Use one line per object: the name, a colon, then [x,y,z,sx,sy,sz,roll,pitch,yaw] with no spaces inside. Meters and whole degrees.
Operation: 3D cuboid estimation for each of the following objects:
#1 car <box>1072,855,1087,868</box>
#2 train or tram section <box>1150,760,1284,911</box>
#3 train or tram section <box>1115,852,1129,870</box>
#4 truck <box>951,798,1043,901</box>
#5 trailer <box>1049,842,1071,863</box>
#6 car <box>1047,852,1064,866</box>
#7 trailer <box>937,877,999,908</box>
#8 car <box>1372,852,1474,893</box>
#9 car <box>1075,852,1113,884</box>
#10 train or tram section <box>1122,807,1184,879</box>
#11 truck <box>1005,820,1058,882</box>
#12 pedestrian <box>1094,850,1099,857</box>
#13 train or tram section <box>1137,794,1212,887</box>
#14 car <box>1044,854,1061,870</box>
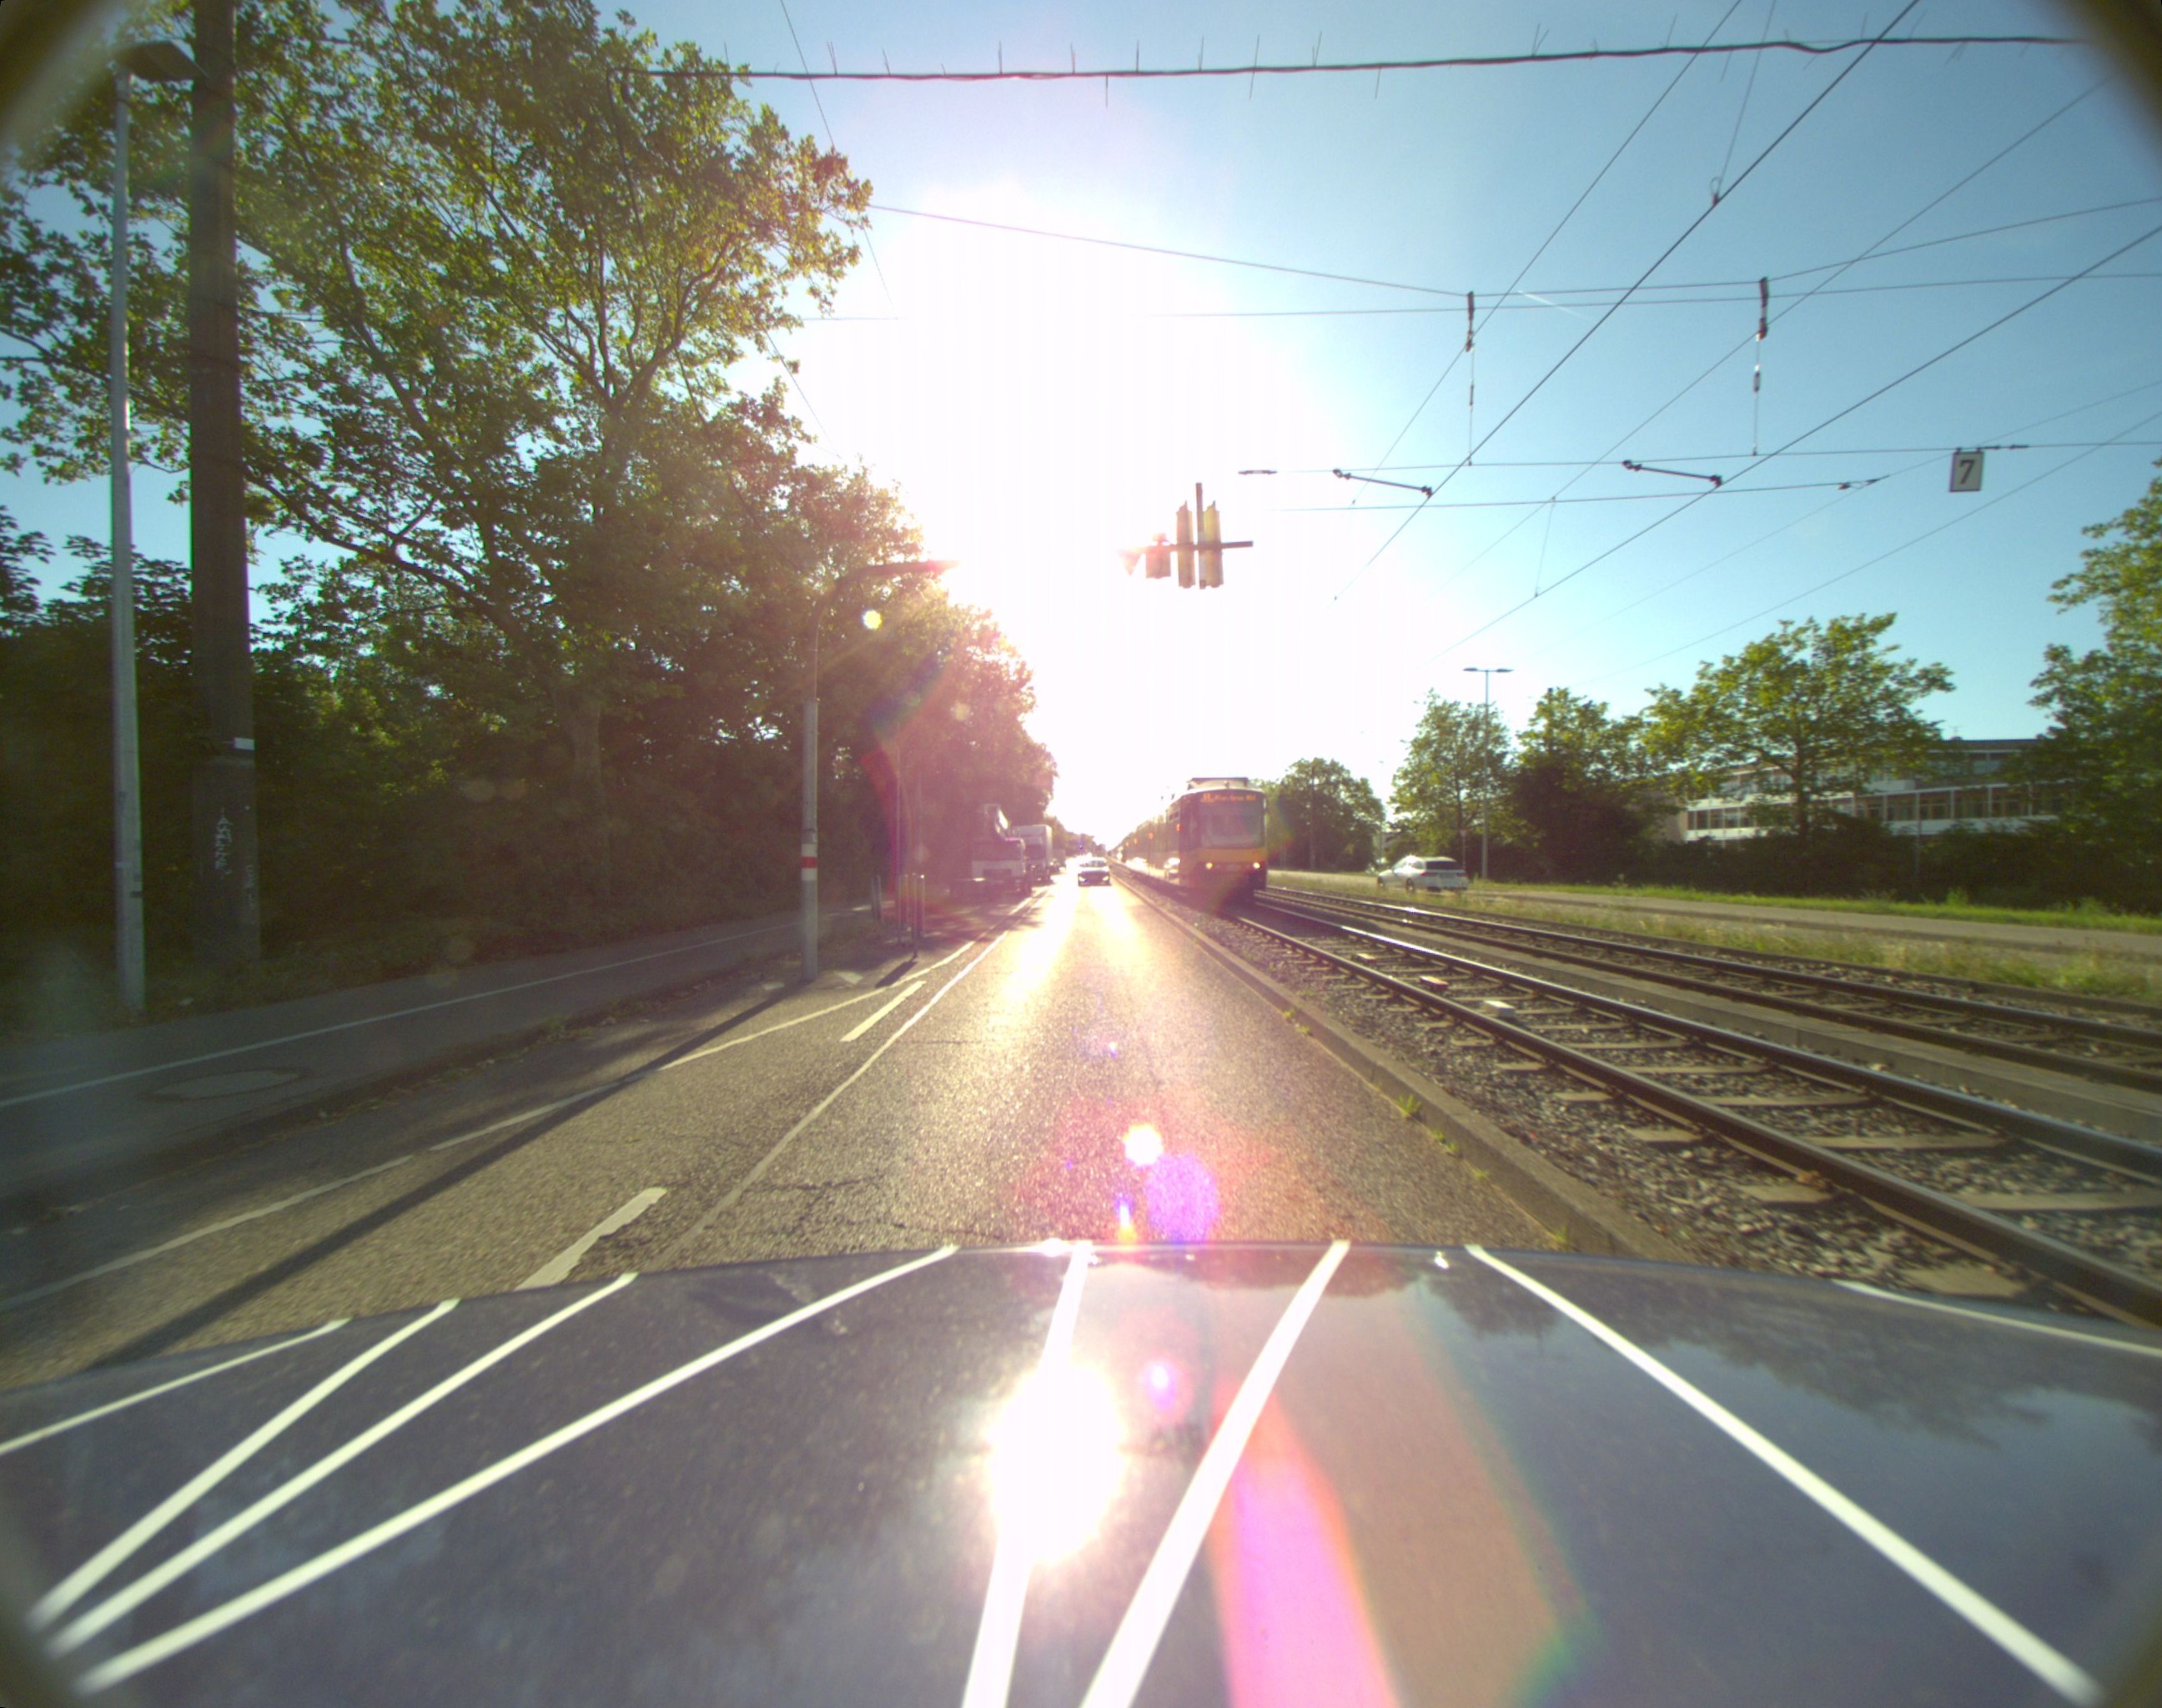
car: [-0.146,0.960,97.745,1.784,1.586,4.000,-1,0,1]
train or tram section: [4.260,-0.530,26.983,2.726,4.065,12.813,0,0,1]
train or tram section: [9.334,1.518,173.535,2.834,3.665,12.968,-2,1,2]
truck: [-3.397,-0.189,33.380,2.724,3.761,9.760,-2,0,1]
trailer: [-2.754,-0.246,100.683,2.256,2.679,5.948,-1,0,4]
car: [-3.011,0.571,89.175,1.813,1.448,4.165,-2,0,0]
trailer: [-3.886,1.315,26.538,1.580,0.854,3.501,-1,0,1]
car: [13.059,0.659,29.369,1.771,1.404,4.912,1,0,1]
car: [0.731,0.712,40.557,1.786,1.530,4.001,-2,0,4]
train or tram section: [4.499,-0.648,50.099,2.728,4.067,13.613,0,0,0]
truck: [-3.272,-0.228,52.650,2.749,3.761,10.088,-2,0,1]
pedestrian: [3.094,-0.126,150.323,0.760,1.485,0.696,-1,1,34]
train or tram section: [4.467,-0.600,38.330,2.701,4.065,9.910,0,0,1]
car: [-3.147,0.856,83.725,1.644,1.528,3.640,-3,0,1]
